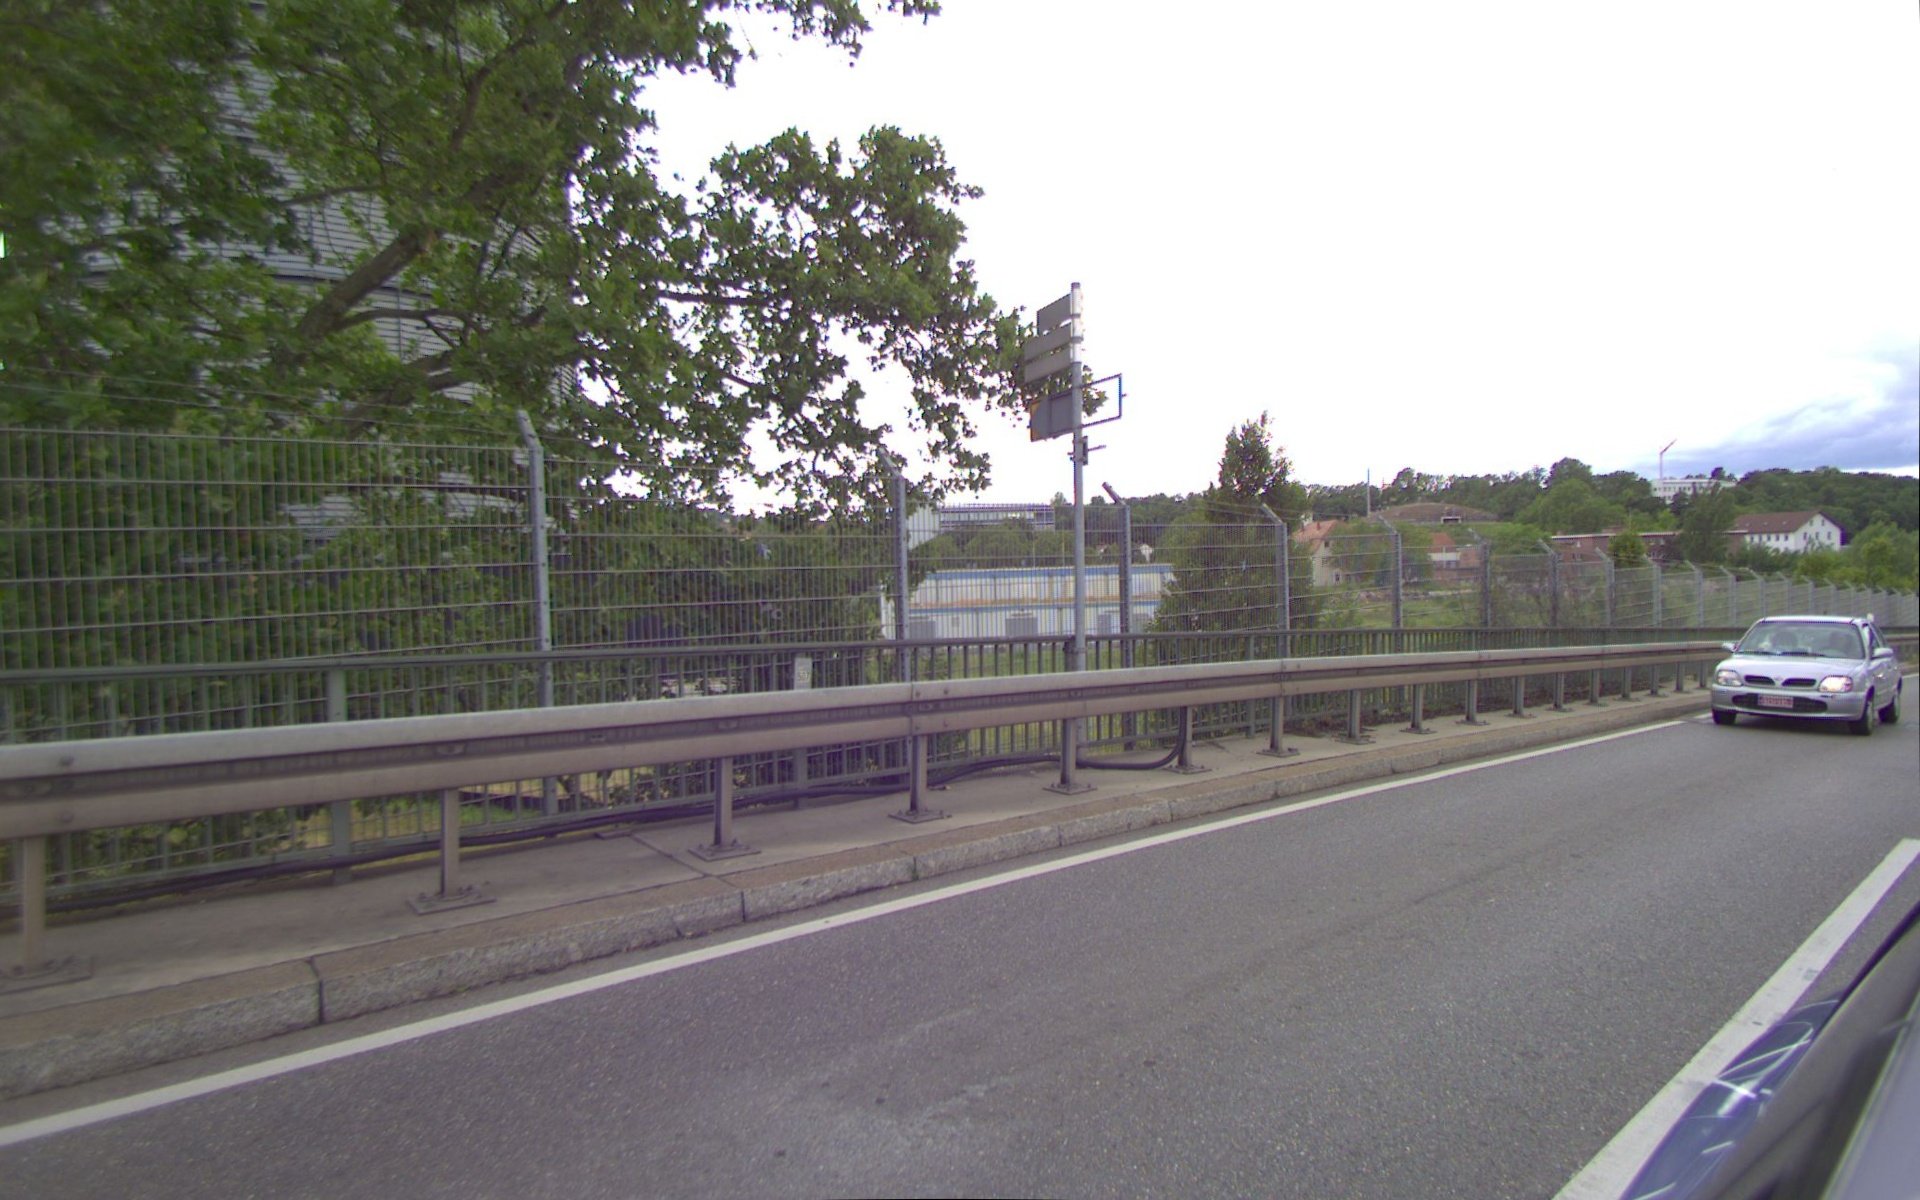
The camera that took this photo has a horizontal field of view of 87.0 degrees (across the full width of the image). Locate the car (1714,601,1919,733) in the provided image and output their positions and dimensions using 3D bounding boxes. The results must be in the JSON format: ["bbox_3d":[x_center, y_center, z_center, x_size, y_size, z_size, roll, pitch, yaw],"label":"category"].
[{"bbox_3d":[11.330,0.771,13.311,3.383,1.449,1.588,-1,1,-41],"label":"car"}]
